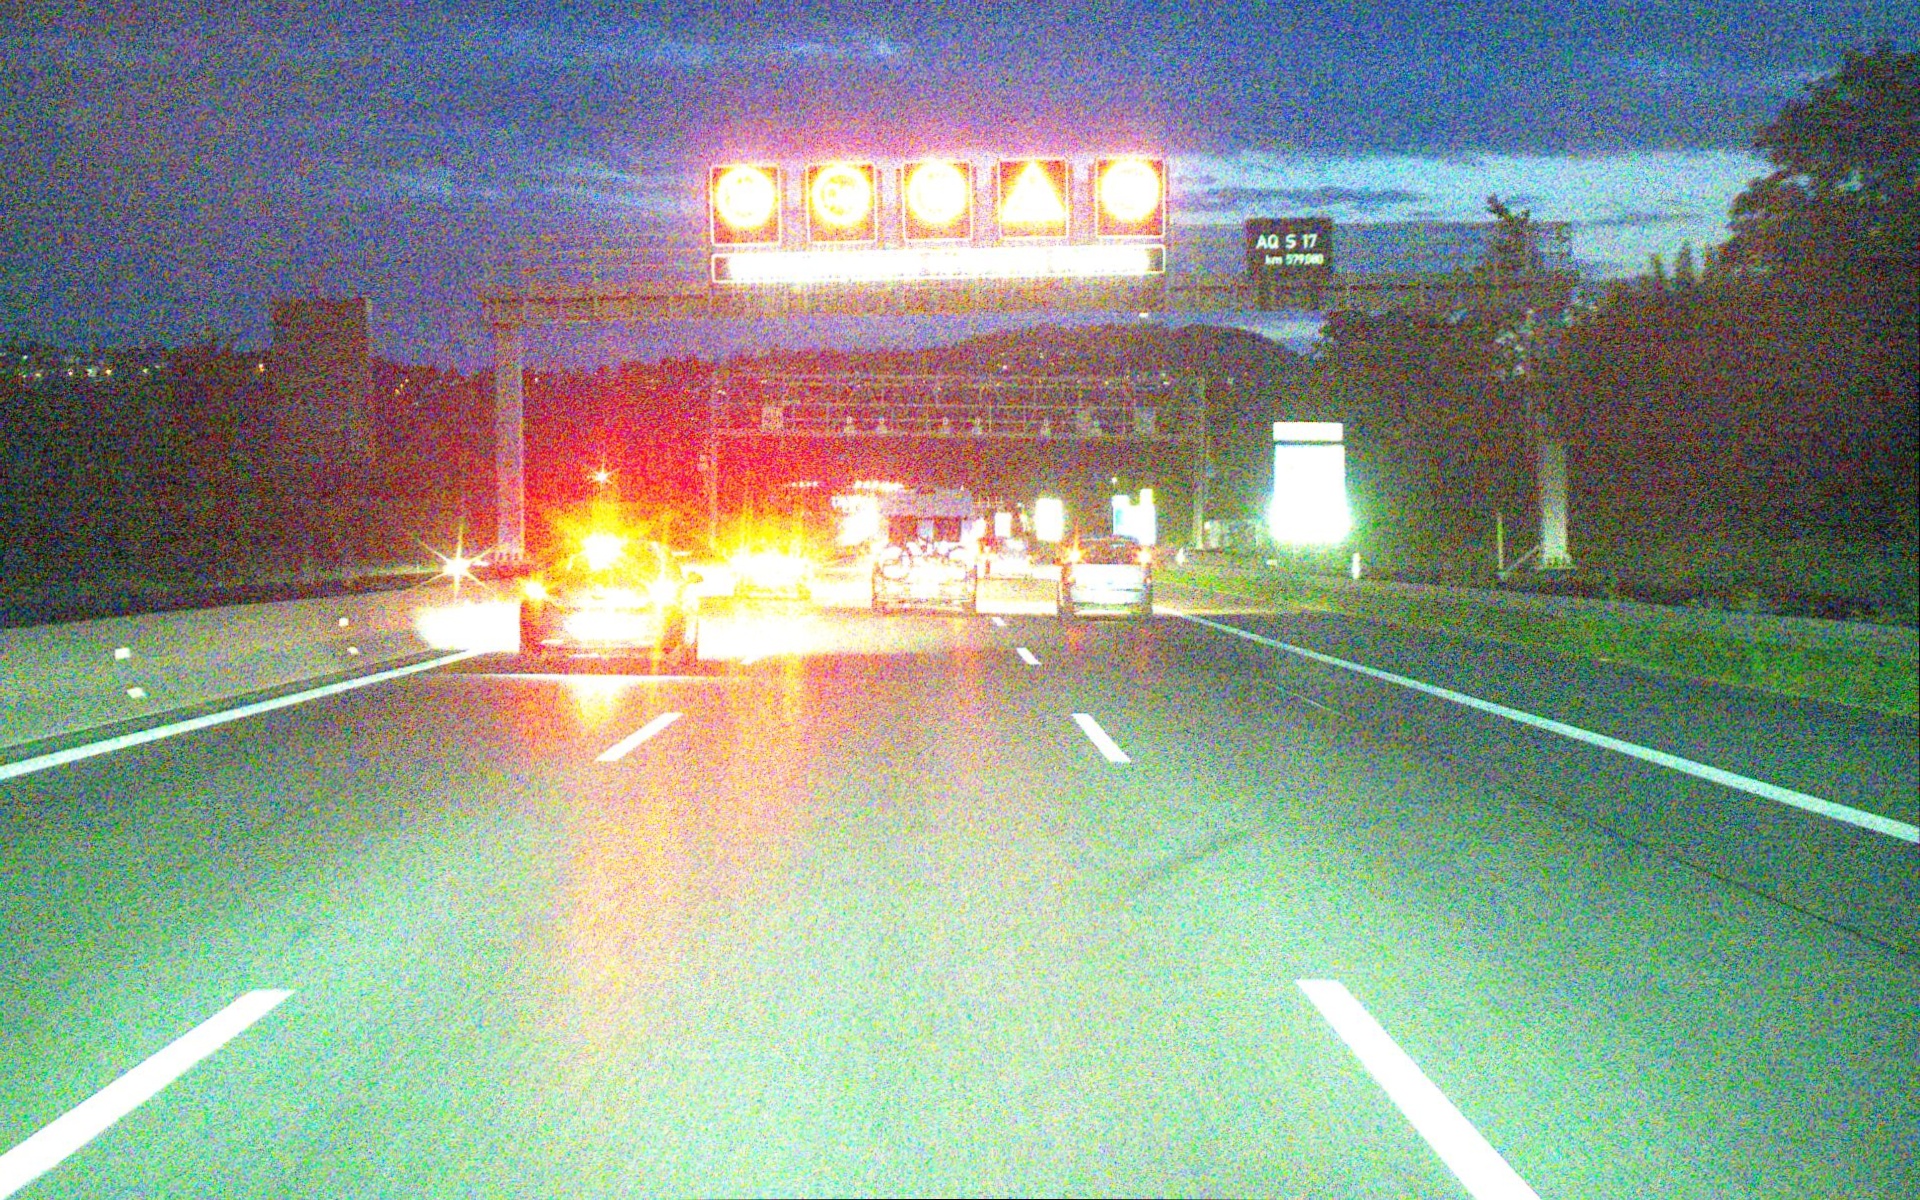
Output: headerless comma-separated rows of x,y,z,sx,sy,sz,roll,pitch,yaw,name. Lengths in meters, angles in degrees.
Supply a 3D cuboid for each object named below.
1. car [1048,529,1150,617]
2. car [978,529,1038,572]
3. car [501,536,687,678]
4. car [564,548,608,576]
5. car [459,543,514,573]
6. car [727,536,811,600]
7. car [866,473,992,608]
2.599,-0.522,65.055,1.646,1.591,4.510,1,1,-1,car
1.786,-1.866,129.065,2.163,1.558,4.723,0,1,0,car
-4.016,0.039,38.237,1.793,1.464,3.773,1,1,-2,car
-21.420,-2.168,197.258,1.964,1.532,5.185,-1,1,0,car
-21.300,-1.904,154.737,1.903,1.278,4.350,-1,1,0,car
-4.507,-0.774,81.439,1.744,1.435,4.368,-1,1,0,car
-0.597,-1.189,67.734,2.351,2.526,5.701,-1,1,0,car
